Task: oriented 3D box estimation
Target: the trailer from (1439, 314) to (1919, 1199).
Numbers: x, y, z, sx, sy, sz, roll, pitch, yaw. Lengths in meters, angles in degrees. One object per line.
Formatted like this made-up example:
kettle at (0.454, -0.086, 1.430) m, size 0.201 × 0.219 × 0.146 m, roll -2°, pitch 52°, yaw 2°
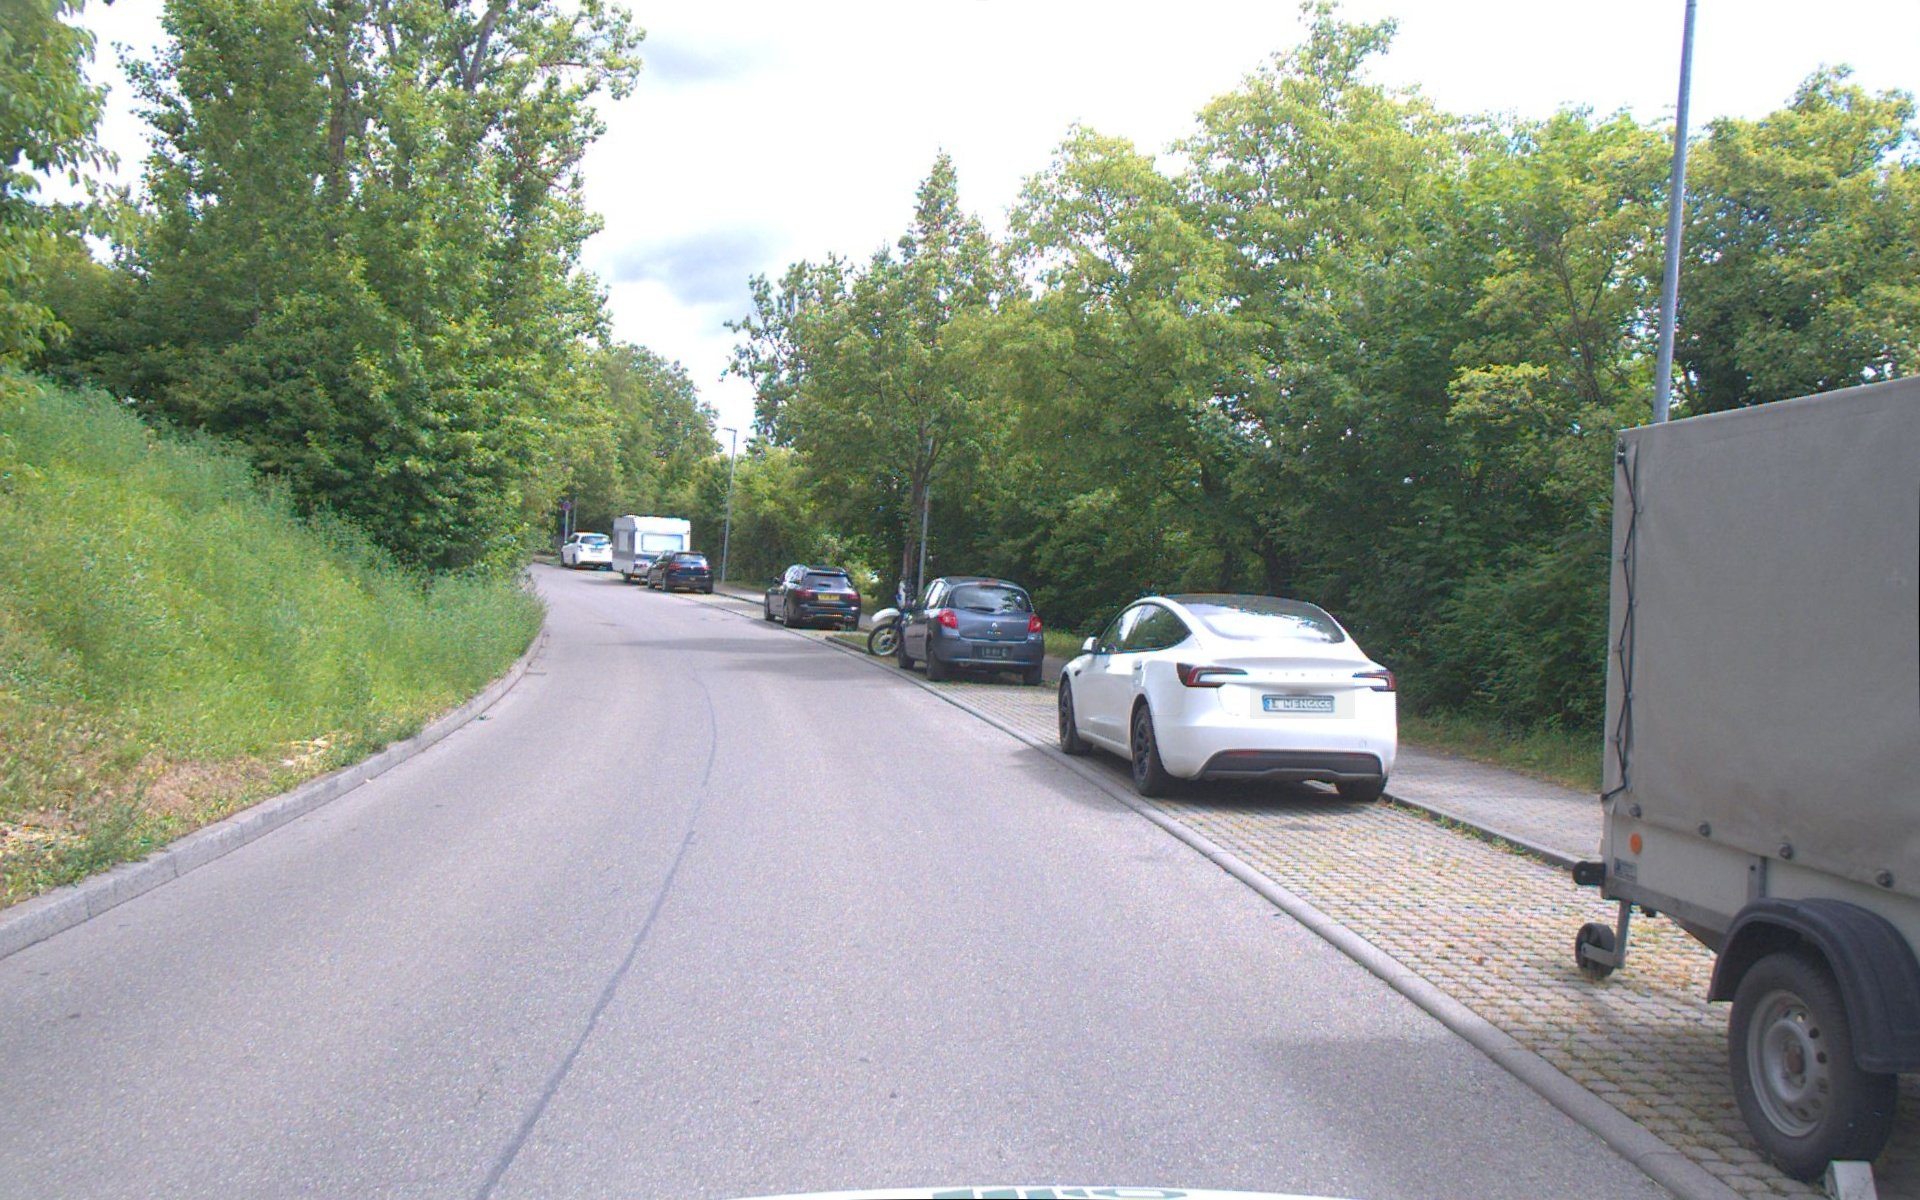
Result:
trailer at (2.977, 0.404, 4.958) m, size 1.696 × 2.114 × 3.779 m, roll 1°, pitch 0°, yaw -5°

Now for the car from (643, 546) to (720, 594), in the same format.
car at (-9.924, -1.093, 58.750) m, size 1.659 × 1.476 × 4.450 m, roll 3°, pitch 2°, yaw -23°

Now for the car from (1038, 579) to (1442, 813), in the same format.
car at (2.018, 0.625, 13.550) m, size 1.828 × 1.503 × 4.893 m, roll 1°, pitch 1°, yaw -8°

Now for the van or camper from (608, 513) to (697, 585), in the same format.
van or camper at (-11.994, -2.002, 64.142) m, size 2.323 × 2.597 × 5.040 m, roll 2°, pitch 2°, yaw -23°

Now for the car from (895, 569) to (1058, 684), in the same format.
car at (0.160, 0.346, 25.191) m, size 1.737 × 1.544 × 4.098 m, roll 2°, pitch 0°, yaw -10°

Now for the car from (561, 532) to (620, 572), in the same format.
car at (-16.990, -2.215, 75.892) m, size 1.781 × 1.627 × 4.339 m, roll 2°, pitch 3°, yaw -25°

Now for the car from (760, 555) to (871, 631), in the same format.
car at (-3.597, -0.211, 40.445) m, size 1.862 × 1.556 × 4.529 m, roll 3°, pitch 2°, yaw -15°

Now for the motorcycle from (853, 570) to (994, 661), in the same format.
motorcycle at (-0.623, 0.248, 28.853) m, size 2.256 × 1.501 × 0.976 m, roll 1°, pitch 1°, yaw 13°
